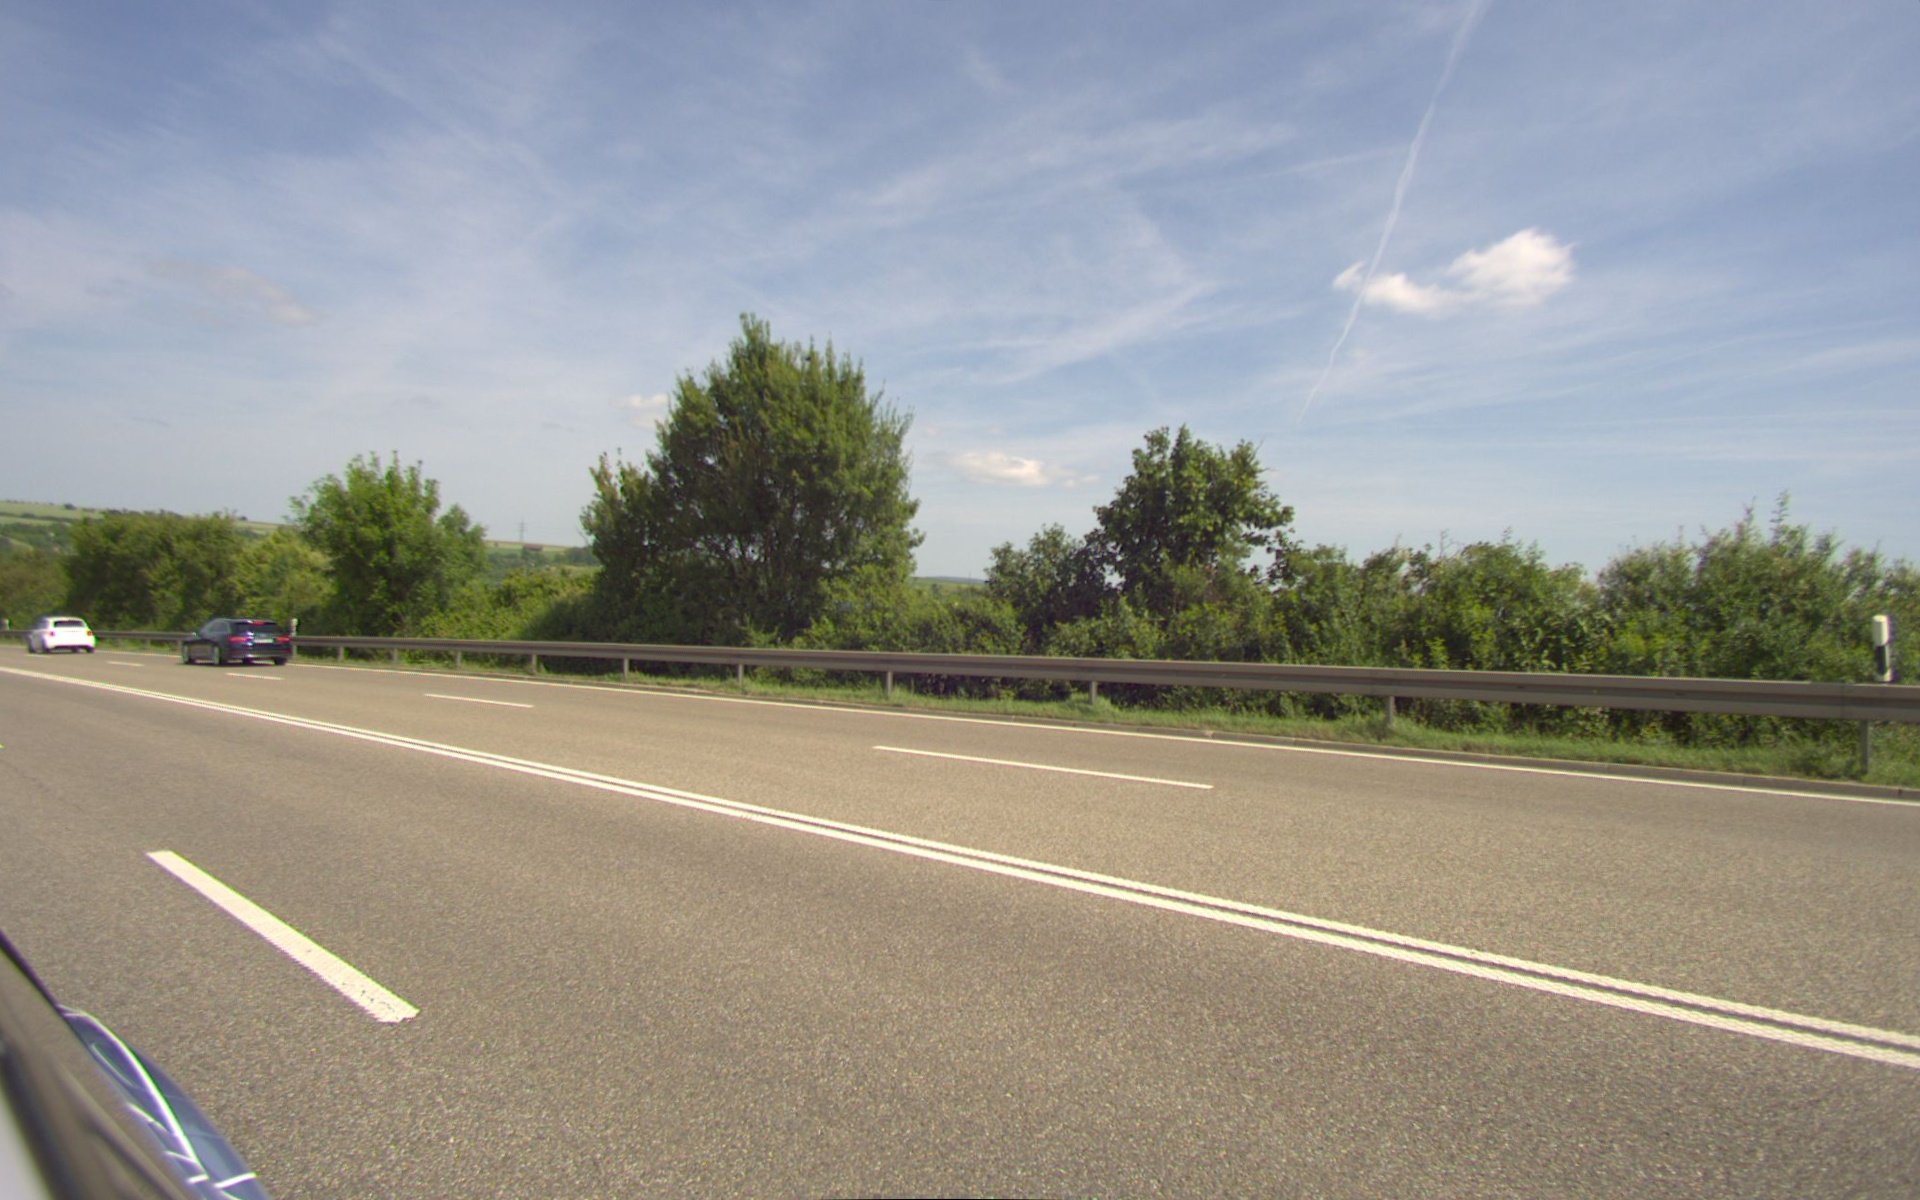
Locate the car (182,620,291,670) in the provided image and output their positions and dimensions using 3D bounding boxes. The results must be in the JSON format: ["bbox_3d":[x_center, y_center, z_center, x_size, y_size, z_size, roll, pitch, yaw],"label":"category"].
[{"bbox_3d":[-22.840,1.375,31.904,4.323,1.466,1.817,-1,-2,41],"label":"car"}]

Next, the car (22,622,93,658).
[{"bbox_3d":[-38.566,1.664,43.242,3.729,1.468,1.641,-1,-1,38],"label":"car"}]
